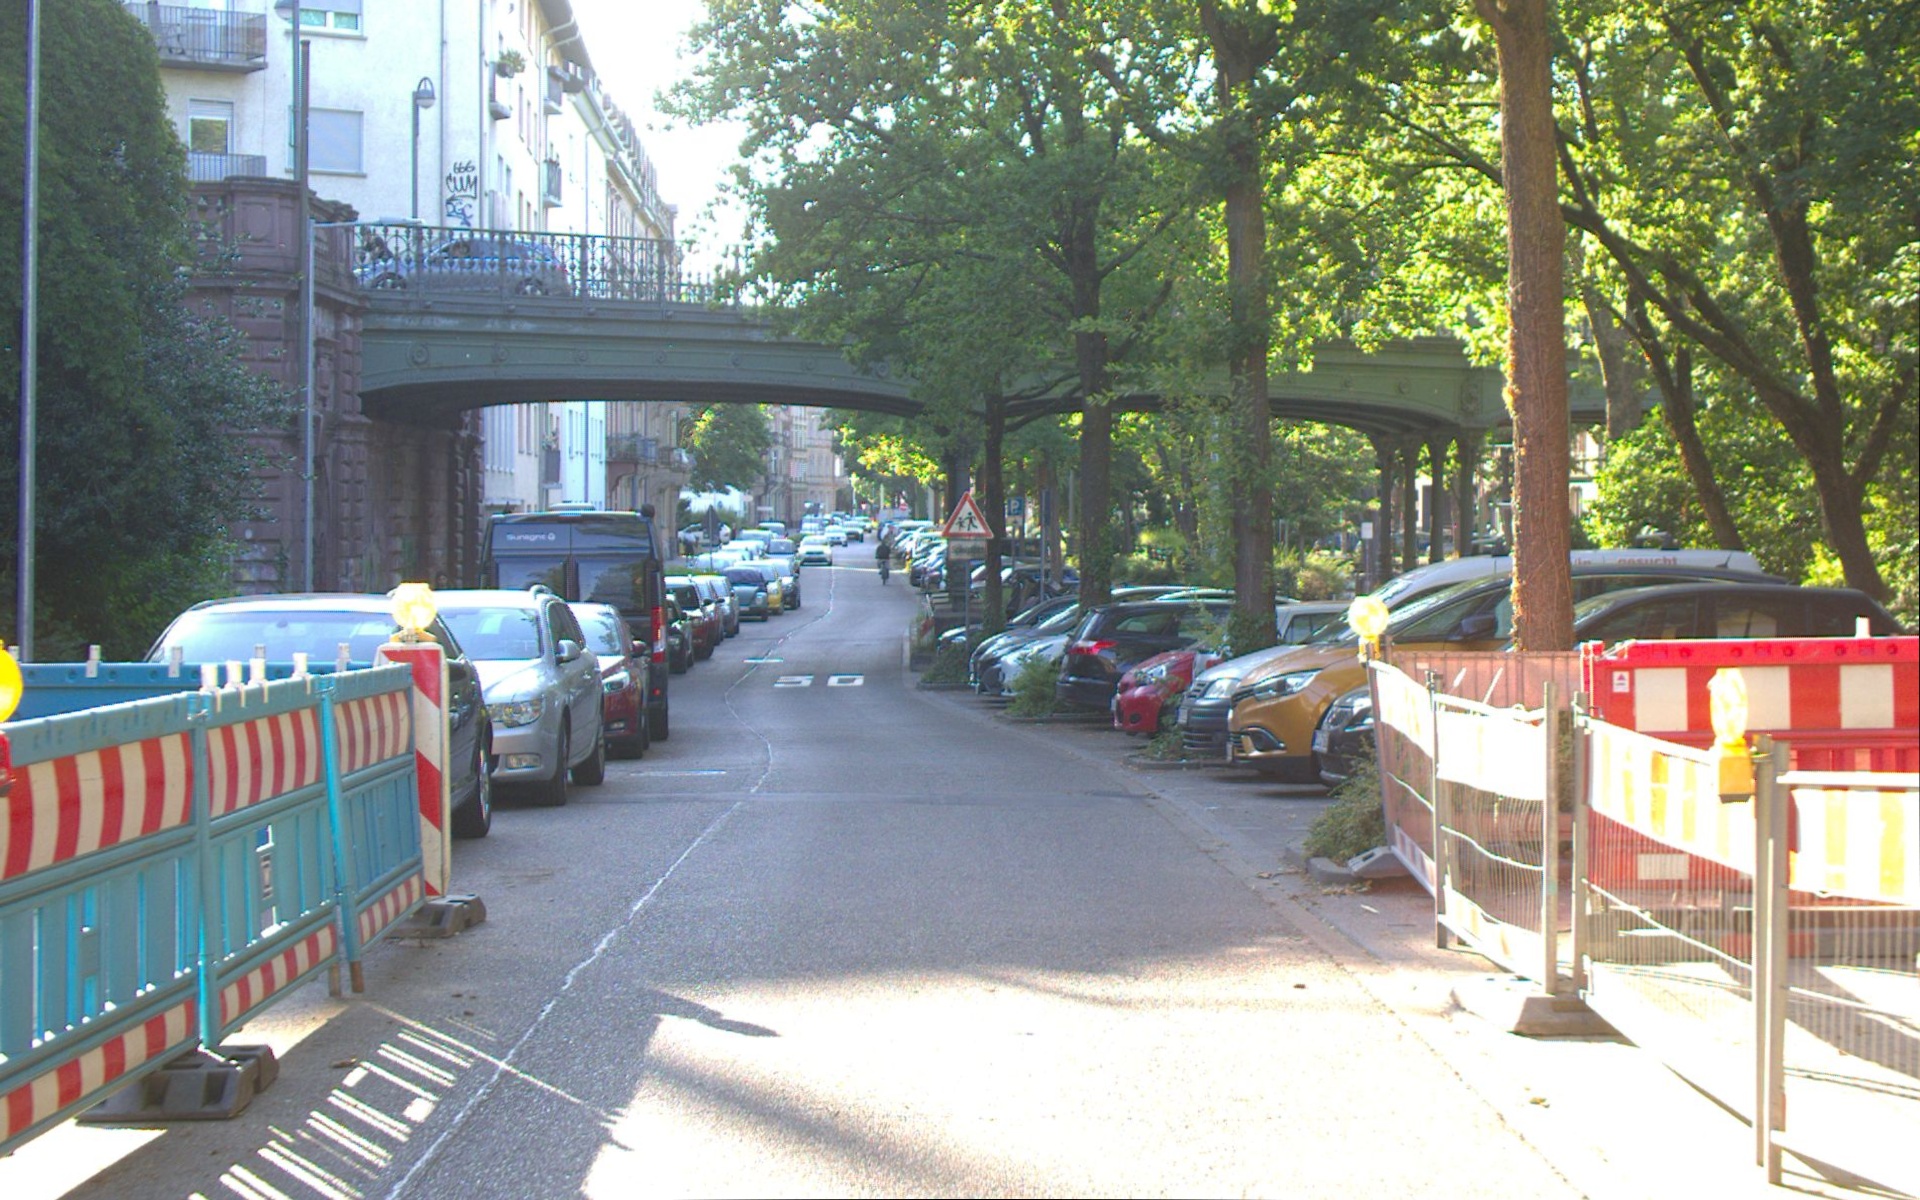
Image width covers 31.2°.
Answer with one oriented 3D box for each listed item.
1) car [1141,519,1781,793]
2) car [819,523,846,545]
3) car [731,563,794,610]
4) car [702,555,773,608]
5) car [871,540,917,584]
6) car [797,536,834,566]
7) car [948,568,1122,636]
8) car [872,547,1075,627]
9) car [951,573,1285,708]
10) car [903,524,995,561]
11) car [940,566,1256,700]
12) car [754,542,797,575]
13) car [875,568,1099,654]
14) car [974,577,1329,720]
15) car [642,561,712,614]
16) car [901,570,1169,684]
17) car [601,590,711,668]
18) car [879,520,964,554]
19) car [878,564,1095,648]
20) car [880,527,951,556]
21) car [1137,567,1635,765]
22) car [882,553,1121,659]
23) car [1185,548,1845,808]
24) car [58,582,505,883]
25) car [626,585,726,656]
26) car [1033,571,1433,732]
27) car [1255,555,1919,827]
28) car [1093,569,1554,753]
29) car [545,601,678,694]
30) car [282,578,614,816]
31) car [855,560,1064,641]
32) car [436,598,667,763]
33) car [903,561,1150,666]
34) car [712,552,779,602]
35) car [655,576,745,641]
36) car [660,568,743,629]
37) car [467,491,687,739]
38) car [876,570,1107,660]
[{"bbox_3d":[3.962,0.456,27.666,4.741,1.990,1.917,2,-1,-4],"label":"car"},{"bbox_3d":[-8.842,-4.560,238.592,1.812,1.393,4.612,-1,0,-2],"label":"car"},{"bbox_3d":[-6.023,-0.399,105.122,1.812,1.393,3.975,-1,0,-2],"label":"car"},{"bbox_3d":[-6.132,-0.507,95.165,1.812,1.393,3.975,-1,0,-2],"label":"car"},{"bbox_3d":[-2.659,-1.527,139.229,1.775,1.604,4.402,2,-1,-1],"label":"car"},{"bbox_3d":[-7.382,-2.492,175.713,1.812,1.393,3.975,-1,0,-2],"label":"car"},{"bbox_3d":[1.910,0.065,88.923,4.387,1.604,1.781,2,-1,-1],"label":"car"},{"bbox_3d":[0.285,-0.280,76.675,4.387,1.604,1.781,2,-1,-3],"label":"car"},{"bbox_3d":[2.138,0.560,47.422,4.387,1.696,1.917,2,-1,-3],"label":"car"},{"bbox_3d":[-0.523,-2.788,166.482,4.387,1.604,1.781,2,-1,-1],"label":"car"},{"bbox_3d":[1.968,0.480,50.016,4.387,1.779,1.917,2,-1,-3],"label":"car"},{"bbox_3d":[-8.320,-1.857,155.119,1.812,1.393,3.975,-1,0,-2],"label":"car"},{"bbox_3d":[0.520,0.234,69.603,4.387,1.604,1.781,2,-1,-3],"label":"car"},{"bbox_3d":[2.454,0.636,44.772,4.387,1.696,1.917,2,-1,-3],"label":"car"},{"bbox_3d":[-8.192,-0.351,99.788,1.812,1.495,3.975,-1,0,-2],"label":"car"},{"bbox_3d":[1.245,0.463,58.708,4.387,1.779,1.917,2,-1,-3],"label":"car"},{"bbox_3d":[-5.689,0.539,64.641,1.812,1.393,3.975,-1,0,-2],"label":"car"},{"bbox_3d":[-2.036,-3.297,180.207,4.387,1.604,1.781,2,-1,-1],"label":"car"},{"bbox_3d":[0.524,0.132,71.779,4.387,1.604,1.781,2,-1,-3],"label":"car"},{"bbox_3d":[-2.801,-3.683,216.790,4.387,1.604,1.781,2,-1,-1],"label":"car"},{"bbox_3d":[3.992,0.628,32.704,4.387,1.696,1.917,2,-1,-3],"label":"car"},{"bbox_3d":[0.768,0.129,65.565,4.387,1.855,1.917,2,-1,-3],"label":"car"},{"bbox_3d":[3.962,0.563,25.018,4.387,1.696,1.917,2,-1,-3],"label":"car"},{"bbox_3d":[-3.534,0.644,18.591,1.715,1.413,4.106,-1,0,-2],"label":"car"},{"bbox_3d":[-5.792,0.415,70.434,1.812,1.393,3.975,-1,0,-2],"label":"car"},{"bbox_3d":[3.139,0.603,40.161,4.387,1.696,1.917,2,-1,-3],"label":"car"},{"bbox_3d":[4.298,0.599,22.702,4.386,1.601,1.917,2,-1,-5],"label":"car"},{"bbox_3d":[3.655,0.620,35.076,4.387,1.696,1.917,2,-1,-3],"label":"car"},{"bbox_3d":[-5.483,0.727,54.516,1.812,1.393,3.975,-1,0,-2],"label":"car"},{"bbox_3d":[-3.529,0.613,24.422,1.812,1.435,4.351,2,1,-2],"label":"car"},{"bbox_3d":[-0.033,0.022,74.217,4.387,1.604,1.781,2,-1,-3],"label":"car"},{"bbox_3d":[-3.850,0.732,33.007,1.812,1.448,4.350,-1,0,-2],"label":"car"},{"bbox_3d":[1.196,0.267,63.404,4.387,1.779,1.917,2,-1,-3],"label":"car"},{"bbox_3d":[-6.232,-0.660,100.273,1.812,1.393,3.975,-1,0,-2],"label":"car"},{"bbox_3d":[-5.762,0.190,76.509,1.812,1.393,3.975,-1,0,-2],"label":"car"},{"bbox_3d":[-6.172,-0.020,82.432,1.812,1.393,3.975,-1,0,-2],"label":"car"},{"bbox_3d":[-4.164,0.170,38.219,2.047,2.489,5.698,2,0,-3],"label":"car"},{"bbox_3d":[0.591,0.308,67.586,4.387,1.604,1.781,2,-1,-3],"label":"car"}]
